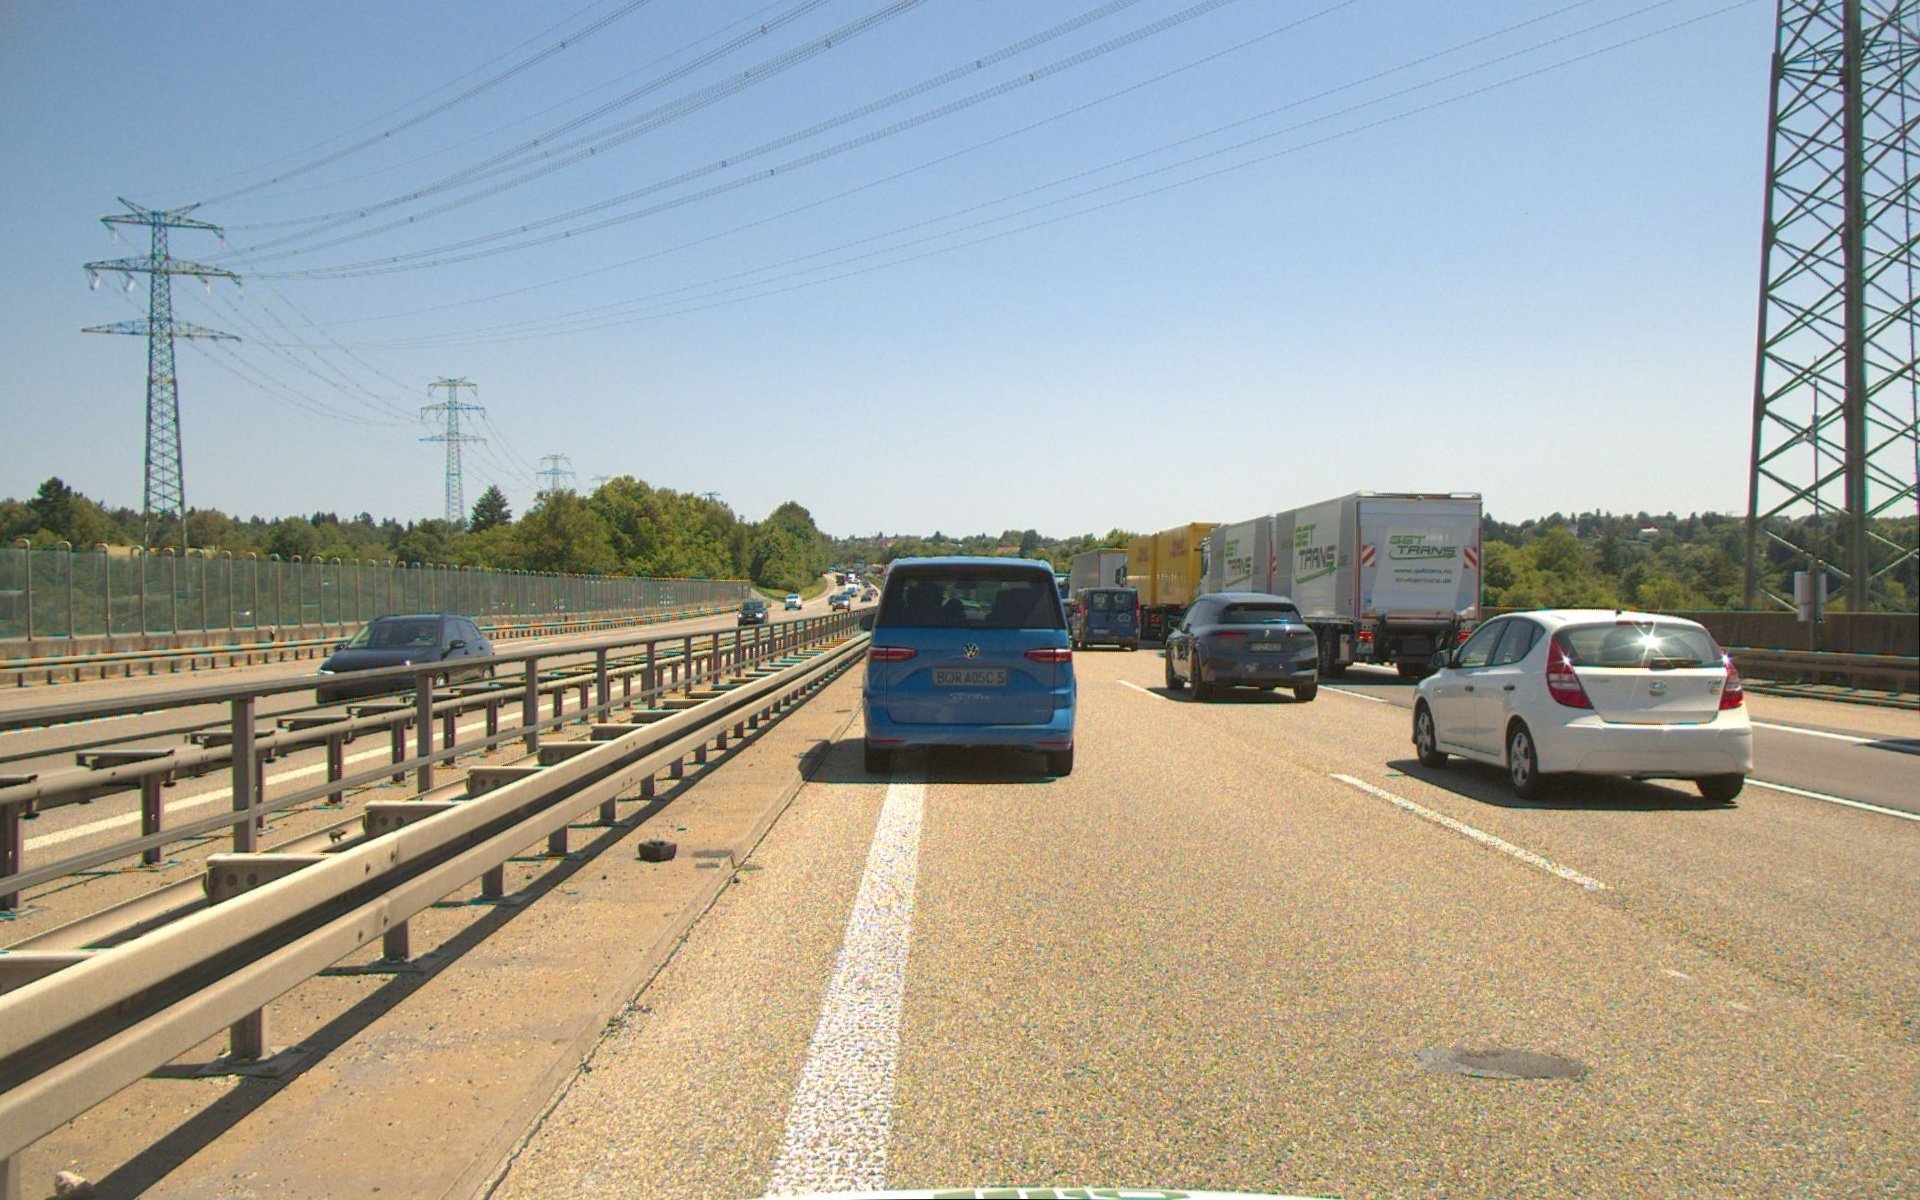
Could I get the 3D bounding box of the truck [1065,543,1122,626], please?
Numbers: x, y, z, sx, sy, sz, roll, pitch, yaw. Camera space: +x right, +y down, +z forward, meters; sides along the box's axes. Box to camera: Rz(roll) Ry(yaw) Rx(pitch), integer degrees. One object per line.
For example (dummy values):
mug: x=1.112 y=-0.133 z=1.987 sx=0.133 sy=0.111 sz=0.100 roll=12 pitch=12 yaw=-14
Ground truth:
truck: x=7.640 y=-0.848 z=95.312 sx=2.613 sy=4.563 sz=6.848 roll=1 pitch=-1 yaw=-1

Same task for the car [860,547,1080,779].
car: x=0.058 y=0.529 z=15.710 sx=1.783 sy=1.890 sz=4.074 roll=1 pitch=0 yaw=-1

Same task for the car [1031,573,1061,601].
car: x=6.447 y=-0.977 z=123.823 sx=1.953 sy=2.049 sz=4.460 roll=0 pitch=0 yaw=-1

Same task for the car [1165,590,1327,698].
car: x=4.694 y=0.685 z=27.756 sx=1.922 sy=1.673 sz=4.292 roll=0 pitch=0 yaw=-1

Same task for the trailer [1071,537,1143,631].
trailer: x=7.726 y=-0.800 z=88.177 sx=2.583 sy=4.595 sz=11.299 roll=1 pitch=0 yaw=-1

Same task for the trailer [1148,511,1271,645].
trailer: x=8.686 y=-0.683 z=58.610 sx=2.806 sy=4.313 sz=9.009 roll=1 pitch=0 yaw=-1

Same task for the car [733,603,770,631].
car: x=-13.582 y=1.119 z=107.800 sx=1.953 sy=1.701 sz=4.185 roll=-2 pitch=0 yaw=-2

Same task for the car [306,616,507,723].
car: x=-8.509 y=1.017 z=25.830 sx=1.732 sy=1.444 sz=4.265 roll=-1 pitch=0 yaw=-1

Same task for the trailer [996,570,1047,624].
trailer: x=3.592 y=-0.119 z=99.336 sx=2.517 sy=3.043 sz=10.661 roll=1 pitch=0 yaw=-1

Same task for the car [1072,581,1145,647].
car: x=4.753 y=0.443 z=53.459 sx=1.922 sy=2.028 sz=4.292 roll=0 pitch=0 yaw=-1

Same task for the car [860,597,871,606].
car: x=-14.713 y=0.246 z=258.644 sx=1.565 sy=1.341 sz=4.340 roll=-2 pitch=0 yaw=-1

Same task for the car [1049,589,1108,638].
car: x=4.611 y=0.497 z=64.616 sx=1.953 sy=1.847 sz=3.999 roll=0 pitch=0 yaw=-1

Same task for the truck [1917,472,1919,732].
truck: x=13.010 y=-0.510 z=17.039 sx=2.638 sy=4.214 sz=6.157 roll=1 pitch=-1 yaw=-1

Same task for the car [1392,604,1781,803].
car: x=5.267 y=0.782 z=14.566 sx=1.752 sy=1.481 sz=4.292 roll=0 pitch=0 yaw=-1

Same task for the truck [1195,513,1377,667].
truck: x=8.672 y=-0.239 z=45.484 sx=2.603 sy=3.712 sz=11.007 roll=0 pitch=0 yaw=-1

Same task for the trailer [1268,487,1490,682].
trailer: x=8.854 y=-0.307 z=35.967 sx=2.643 sy=3.765 sz=8.012 roll=0 pitch=0 yaw=-1

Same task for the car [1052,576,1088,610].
car: x=7.030 y=-0.422 z=105.857 sx=1.953 sy=2.049 sz=3.999 roll=1 pitch=0 yaw=-1

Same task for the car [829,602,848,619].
car: x=-12.607 y=1.102 z=171.722 sx=1.769 sy=1.656 sz=4.476 roll=1 pitch=0 yaw=-1

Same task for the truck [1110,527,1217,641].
truck: x=8.262 y=-0.595 z=68.616 sx=2.778 sy=4.317 sz=11.007 roll=1 pitch=0 yaw=-1

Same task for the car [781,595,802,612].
car: x=-20.144 y=0.444 z=197.805 sx=1.953 sy=1.918 sz=5.254 roll=-2 pitch=0 yaw=-1
